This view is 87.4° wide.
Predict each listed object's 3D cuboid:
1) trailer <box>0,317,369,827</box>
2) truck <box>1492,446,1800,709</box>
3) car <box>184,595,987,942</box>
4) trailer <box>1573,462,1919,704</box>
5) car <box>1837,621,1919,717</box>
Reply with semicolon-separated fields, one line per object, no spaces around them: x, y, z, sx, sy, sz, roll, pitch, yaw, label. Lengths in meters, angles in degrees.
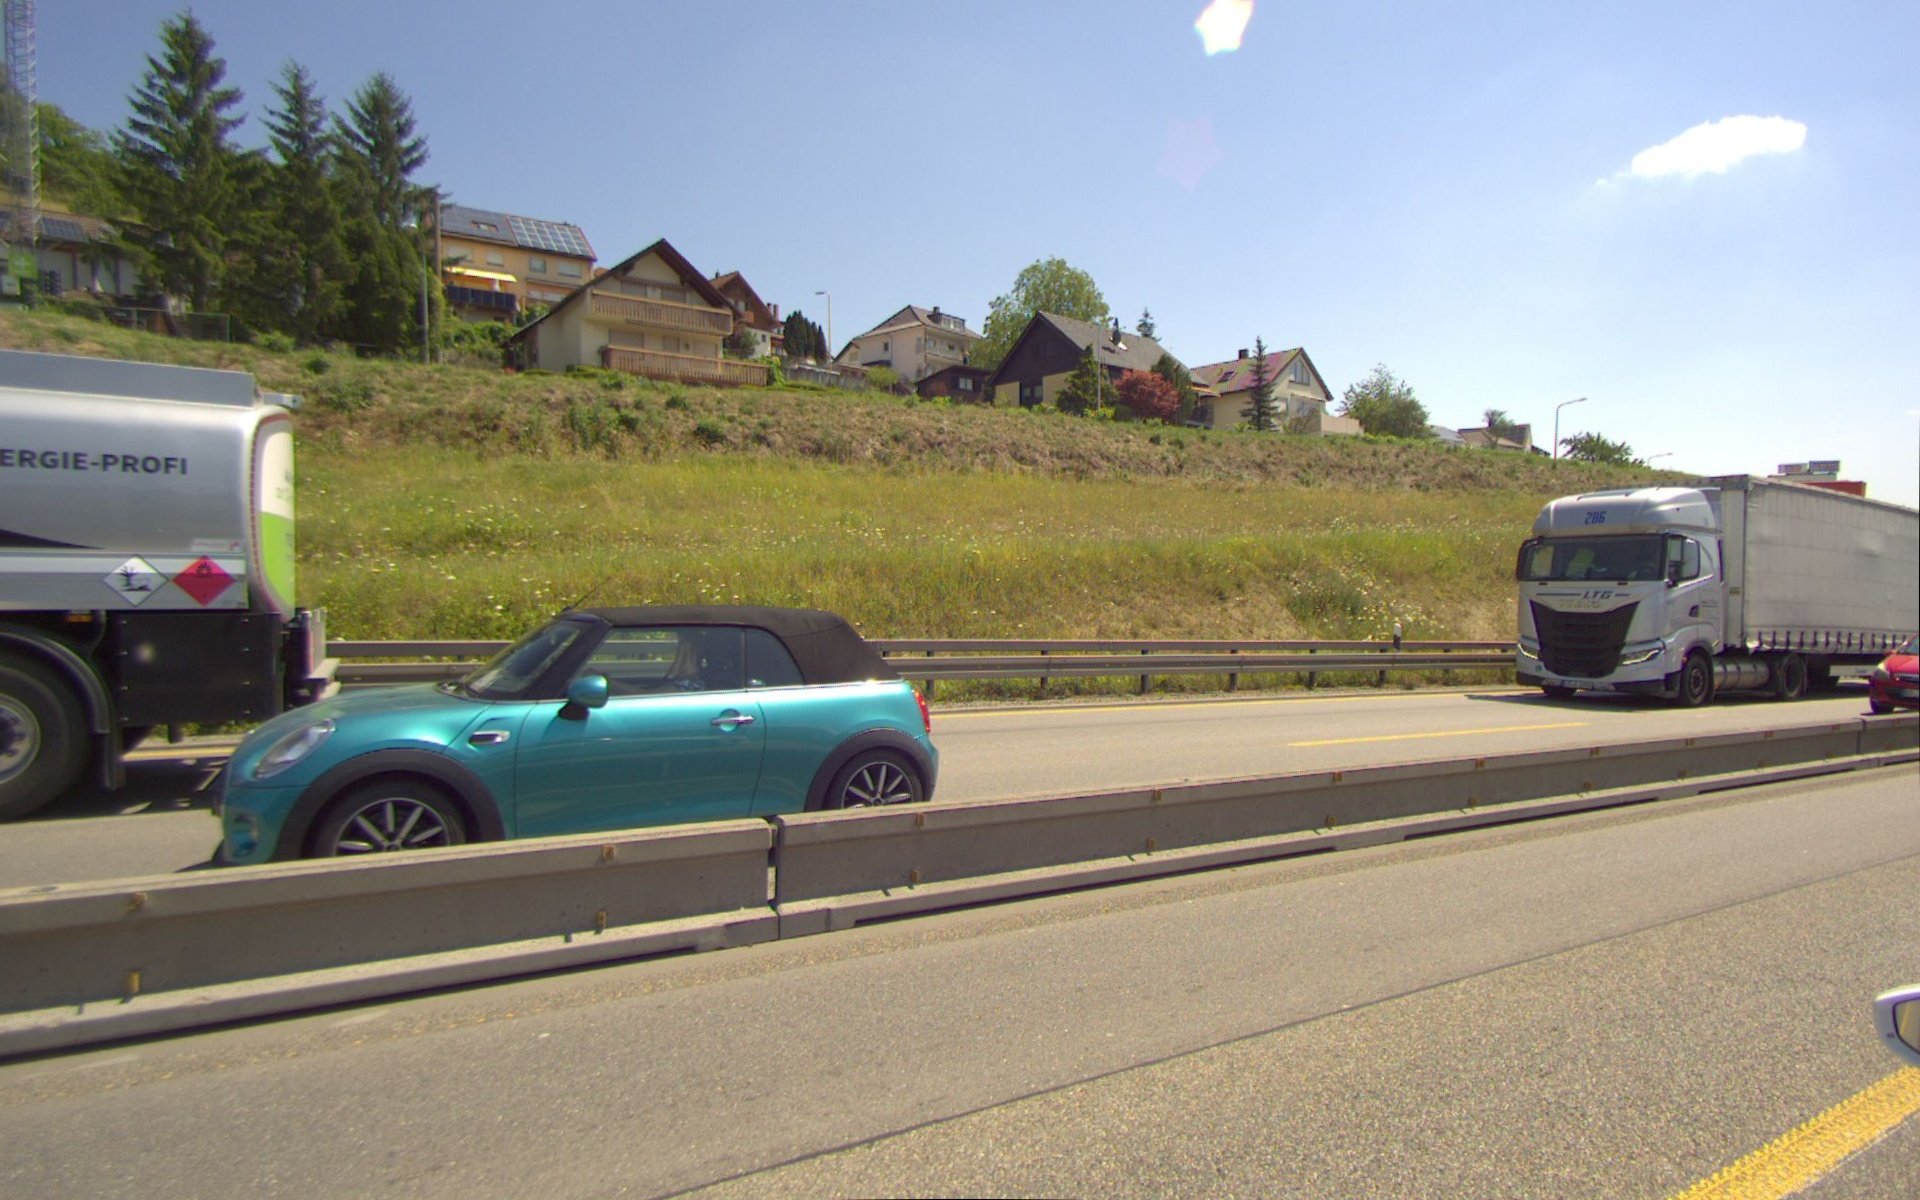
-7.506;-0.204;6.460;6.295;3.041;2.600;1;0;-30;trailer
12.777;-0.319;18.682;5.226;4.238;2.732;1;0;-30;truck
-1.913;0.720;5.813;3.859;1.413;1.657;1;0;-31;car
18.824;-0.164;22.312;13.817;4.237;2.772;1;0;-31;trailer
16.630;1.131;16.892;3.953;1.486;1.661;1;0;-30;car
